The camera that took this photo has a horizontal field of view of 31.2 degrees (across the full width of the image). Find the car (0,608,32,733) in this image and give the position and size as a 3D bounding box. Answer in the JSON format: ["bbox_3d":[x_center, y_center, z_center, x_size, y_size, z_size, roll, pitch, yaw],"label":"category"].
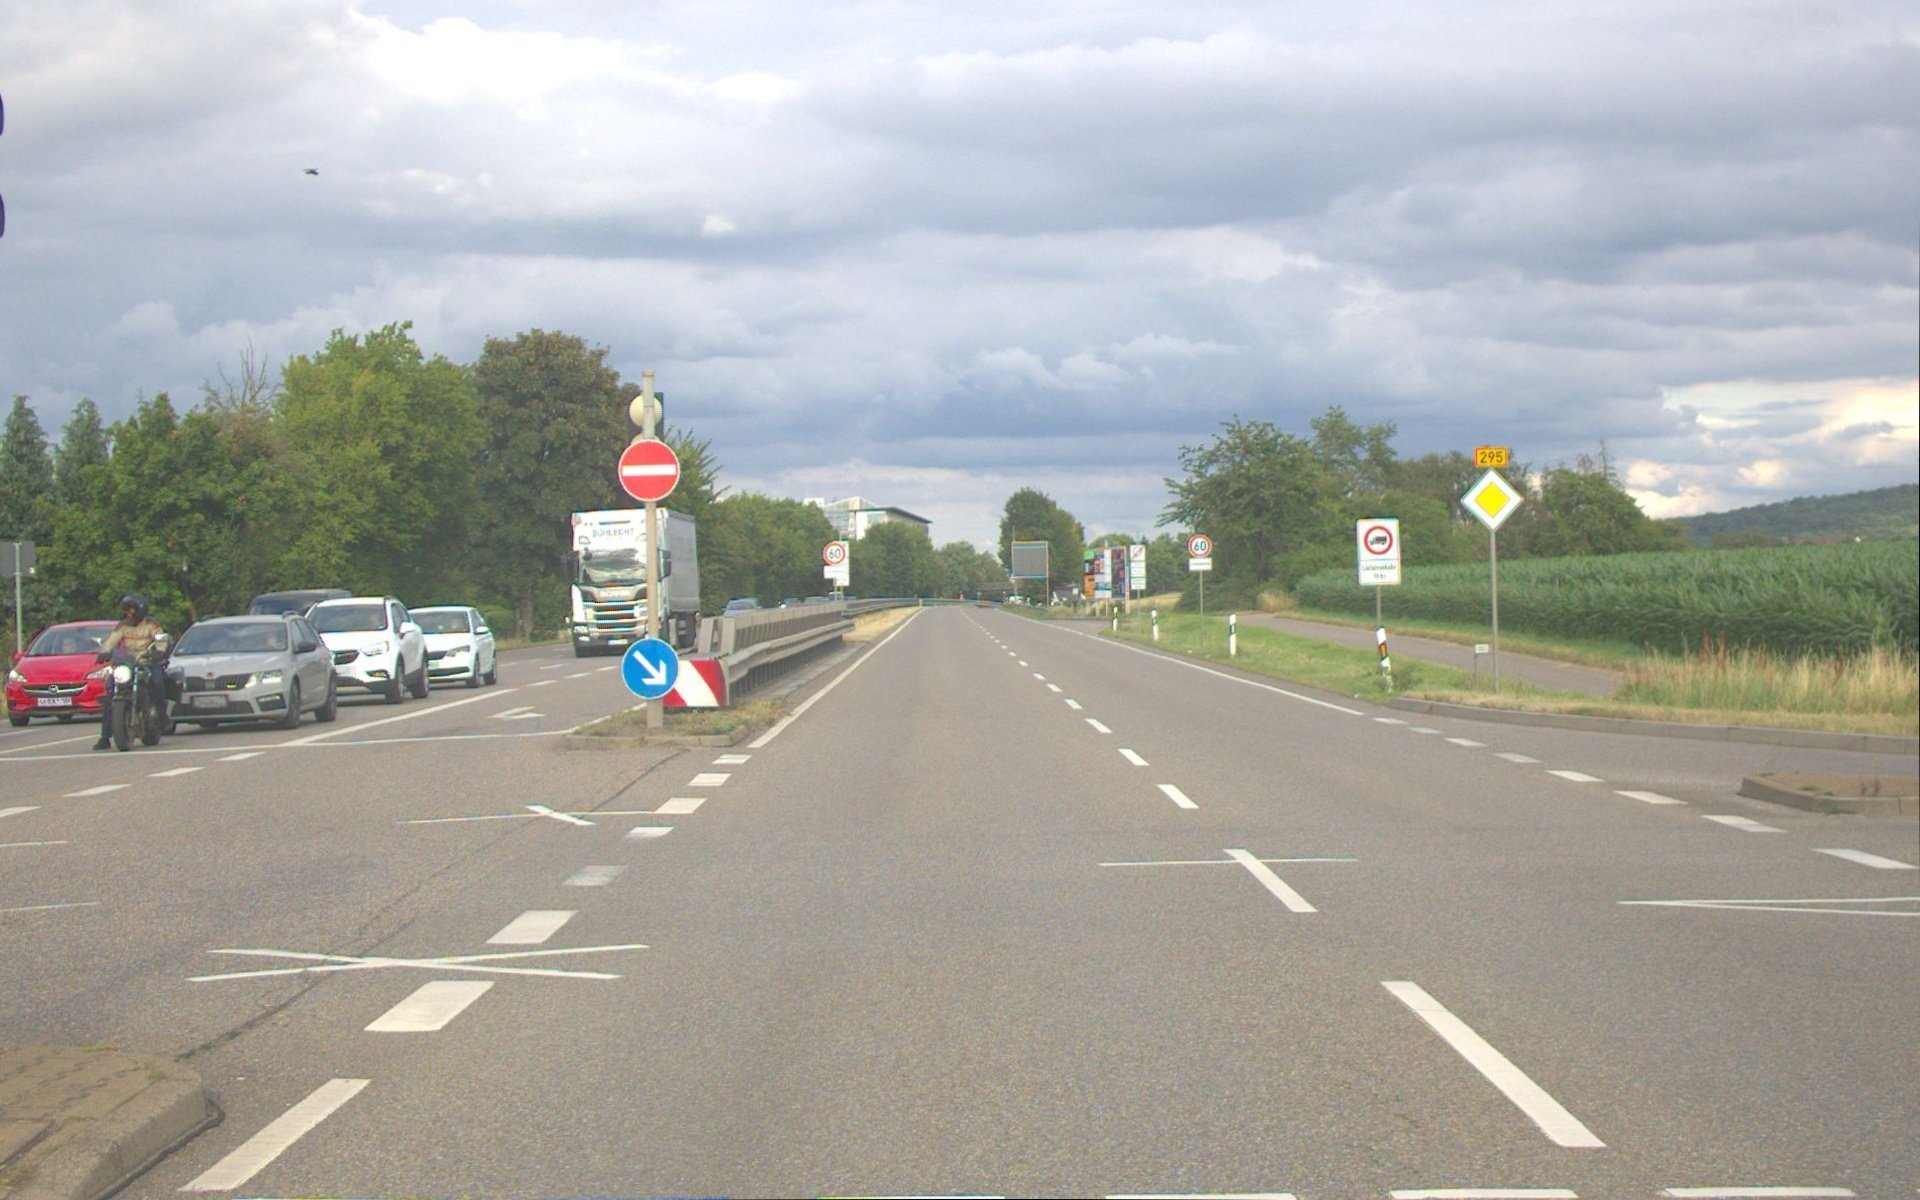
[{"bbox_3d":[-12.799,0.906,41.408,1.907,1.530,4.939,-2,0,0],"label":"car"}]

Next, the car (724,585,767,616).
[{"bbox_3d":[-10.249,0.009,164.628,1.789,1.381,4.160,-2,0,0],"label":"car"}]

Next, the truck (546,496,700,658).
[{"bbox_3d":[-9.209,-0.625,94.547,3.474,4.136,6.050,-3,0,0],"label":"truck"}]

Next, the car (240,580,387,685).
[{"bbox_3d":[-13.209,0.655,70.509,1.993,2.007,4.947,-2,0,0],"label":"car"}]

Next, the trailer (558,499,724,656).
[{"bbox_3d":[-9.230,-0.633,101.213,3.465,4.136,13.916,-3,0,0],"label":"trailer"}]

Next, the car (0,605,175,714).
[{"bbox_3d":[-12.987,0.843,50.580,1.907,1.460,4.184,-2,0,0],"label":"car"}]

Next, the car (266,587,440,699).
[{"bbox_3d":[-9.346,0.630,53.230,1.907,1.604,4.405,-2,0,0],"label":"car"}]

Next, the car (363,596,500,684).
[{"bbox_3d":[-9.378,0.692,61.274,1.789,1.439,4.160,-2,0,0],"label":"car"}]

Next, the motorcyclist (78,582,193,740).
[{"bbox_3d":[-9.198,0.671,38.413,0.916,1.703,1.276,-2,0,0],"label":"motorcyclist"}]

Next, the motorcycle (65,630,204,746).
[{"bbox_3d":[-9.198,0.965,38.414,0.916,1.199,2.478,-2,0,0],"label":"motorcycle"}]

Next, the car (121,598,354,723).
[{"bbox_3d":[-9.151,0.730,43.967,1.907,1.423,5.152,-2,0,0],"label":"car"}]
